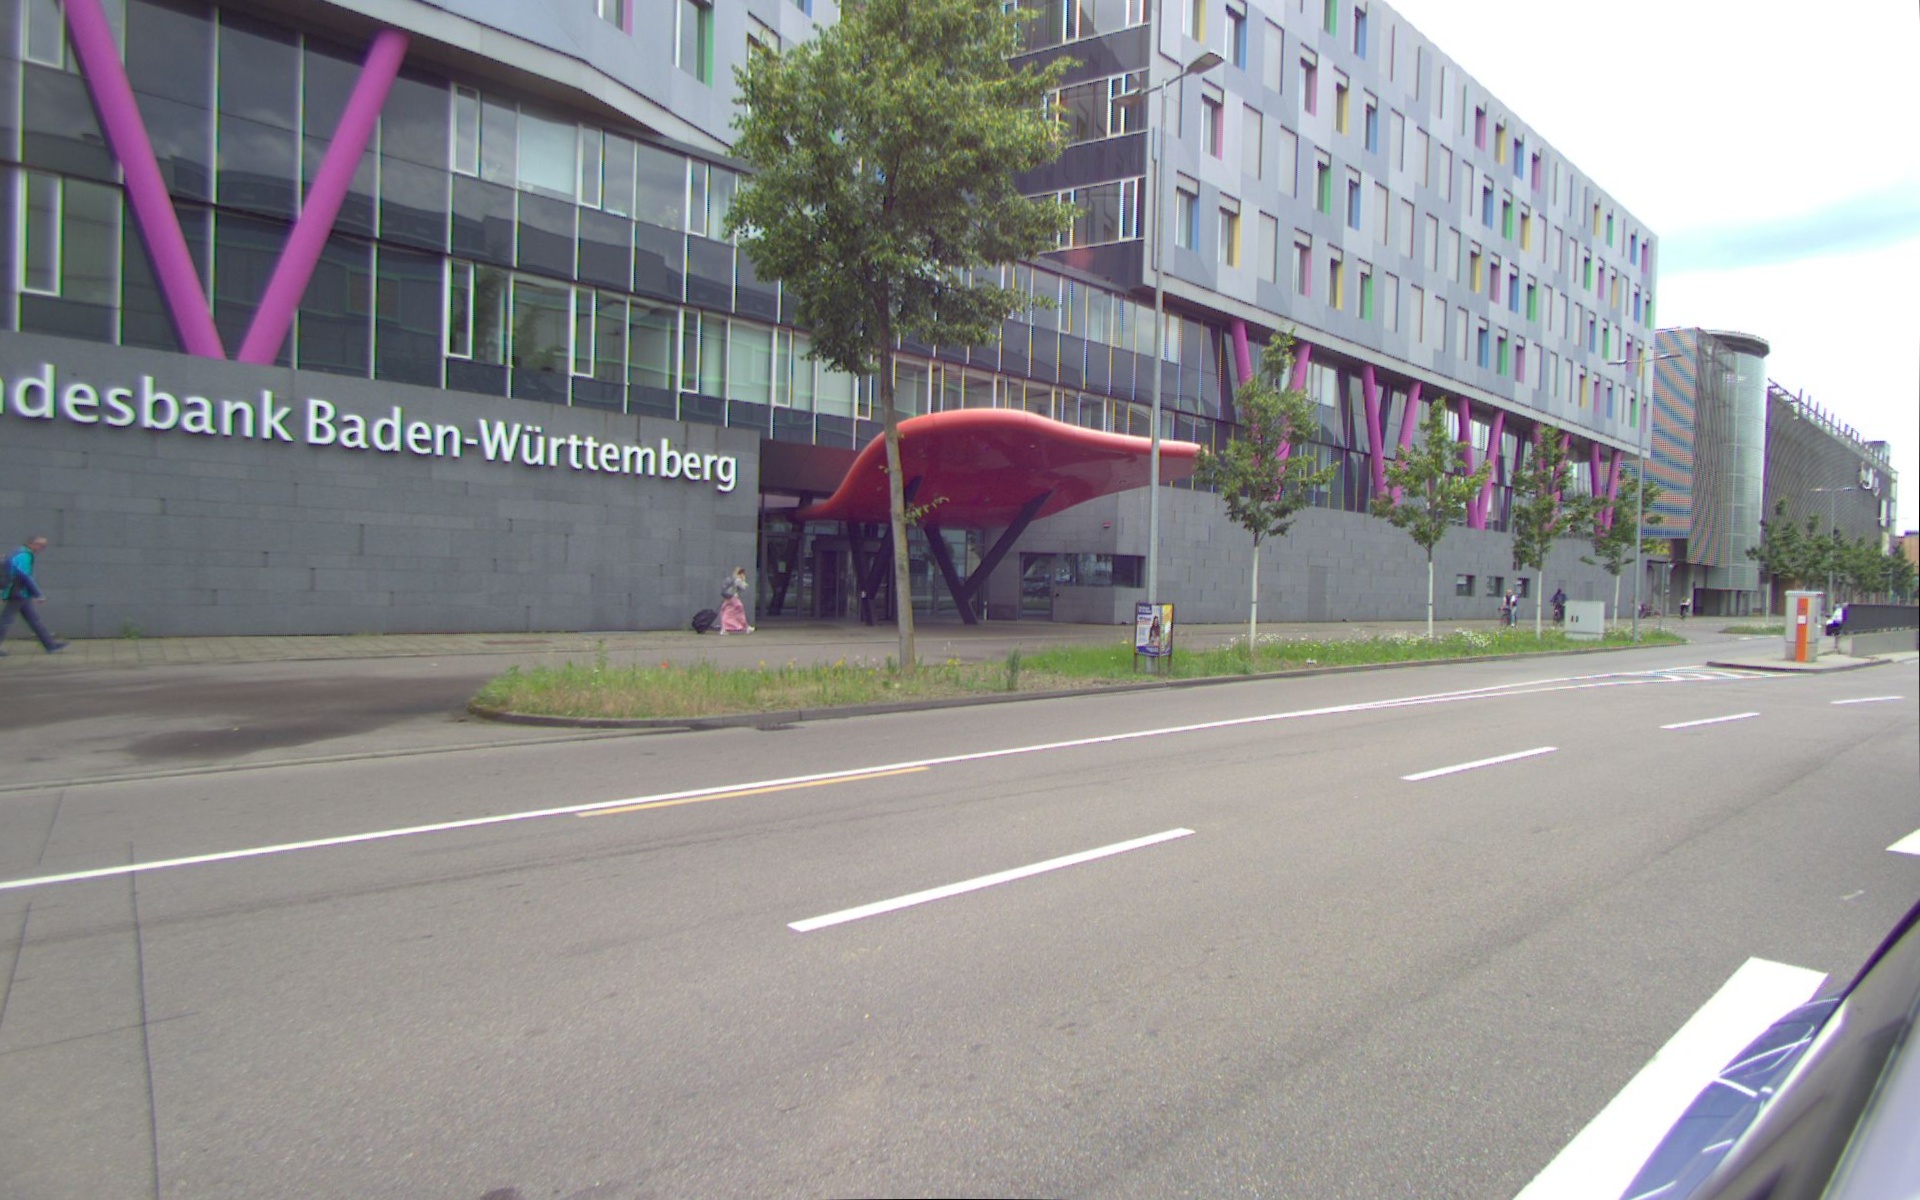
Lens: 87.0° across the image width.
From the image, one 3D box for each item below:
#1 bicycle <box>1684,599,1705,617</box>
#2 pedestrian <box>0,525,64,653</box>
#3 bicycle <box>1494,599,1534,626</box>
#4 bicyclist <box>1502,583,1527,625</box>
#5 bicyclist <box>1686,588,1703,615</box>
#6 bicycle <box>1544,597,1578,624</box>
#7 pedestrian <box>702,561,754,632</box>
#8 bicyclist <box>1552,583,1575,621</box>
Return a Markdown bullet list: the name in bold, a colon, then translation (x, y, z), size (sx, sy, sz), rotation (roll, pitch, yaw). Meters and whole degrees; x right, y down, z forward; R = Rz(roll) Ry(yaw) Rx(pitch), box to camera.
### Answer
- **bicycle**: translation (51.101, 0.531, 70.395), size (2.184, 1.209, 0.783), rotation (1, 1, -45)
- **pedestrian**: translation (-13.679, -0.173, 14.559), size (1.116, 1.792, 1.054), rotation (1, 1, -40)
- **bicycle**: translation (24.523, 0.555, 44.783), size (2.304, 1.173, 0.800), rotation (2, 0, -42)
- **bicyclist**: translation (24.534, 0.163, 44.790), size (0.692, 1.825, 0.783), rotation (2, -1, -41)
- **bicyclist**: translation (51.142, 0.117, 70.433), size (0.958, 1.809, 0.771), rotation (1, 1, -45)
- **bicycle**: translation (30.540, 0.536, 51.399), size (2.303, 1.173, 0.800), rotation (6, -3, -42)
- **pedestrian**: translation (-5.369, -0.082, 23.411), size (0.898, 1.602, 0.786), rotation (1, 1, -40)
- **bicyclist**: translation (30.630, 0.098, 51.383), size (0.692, 1.826, 0.783), rotation (6, -3, -41)
